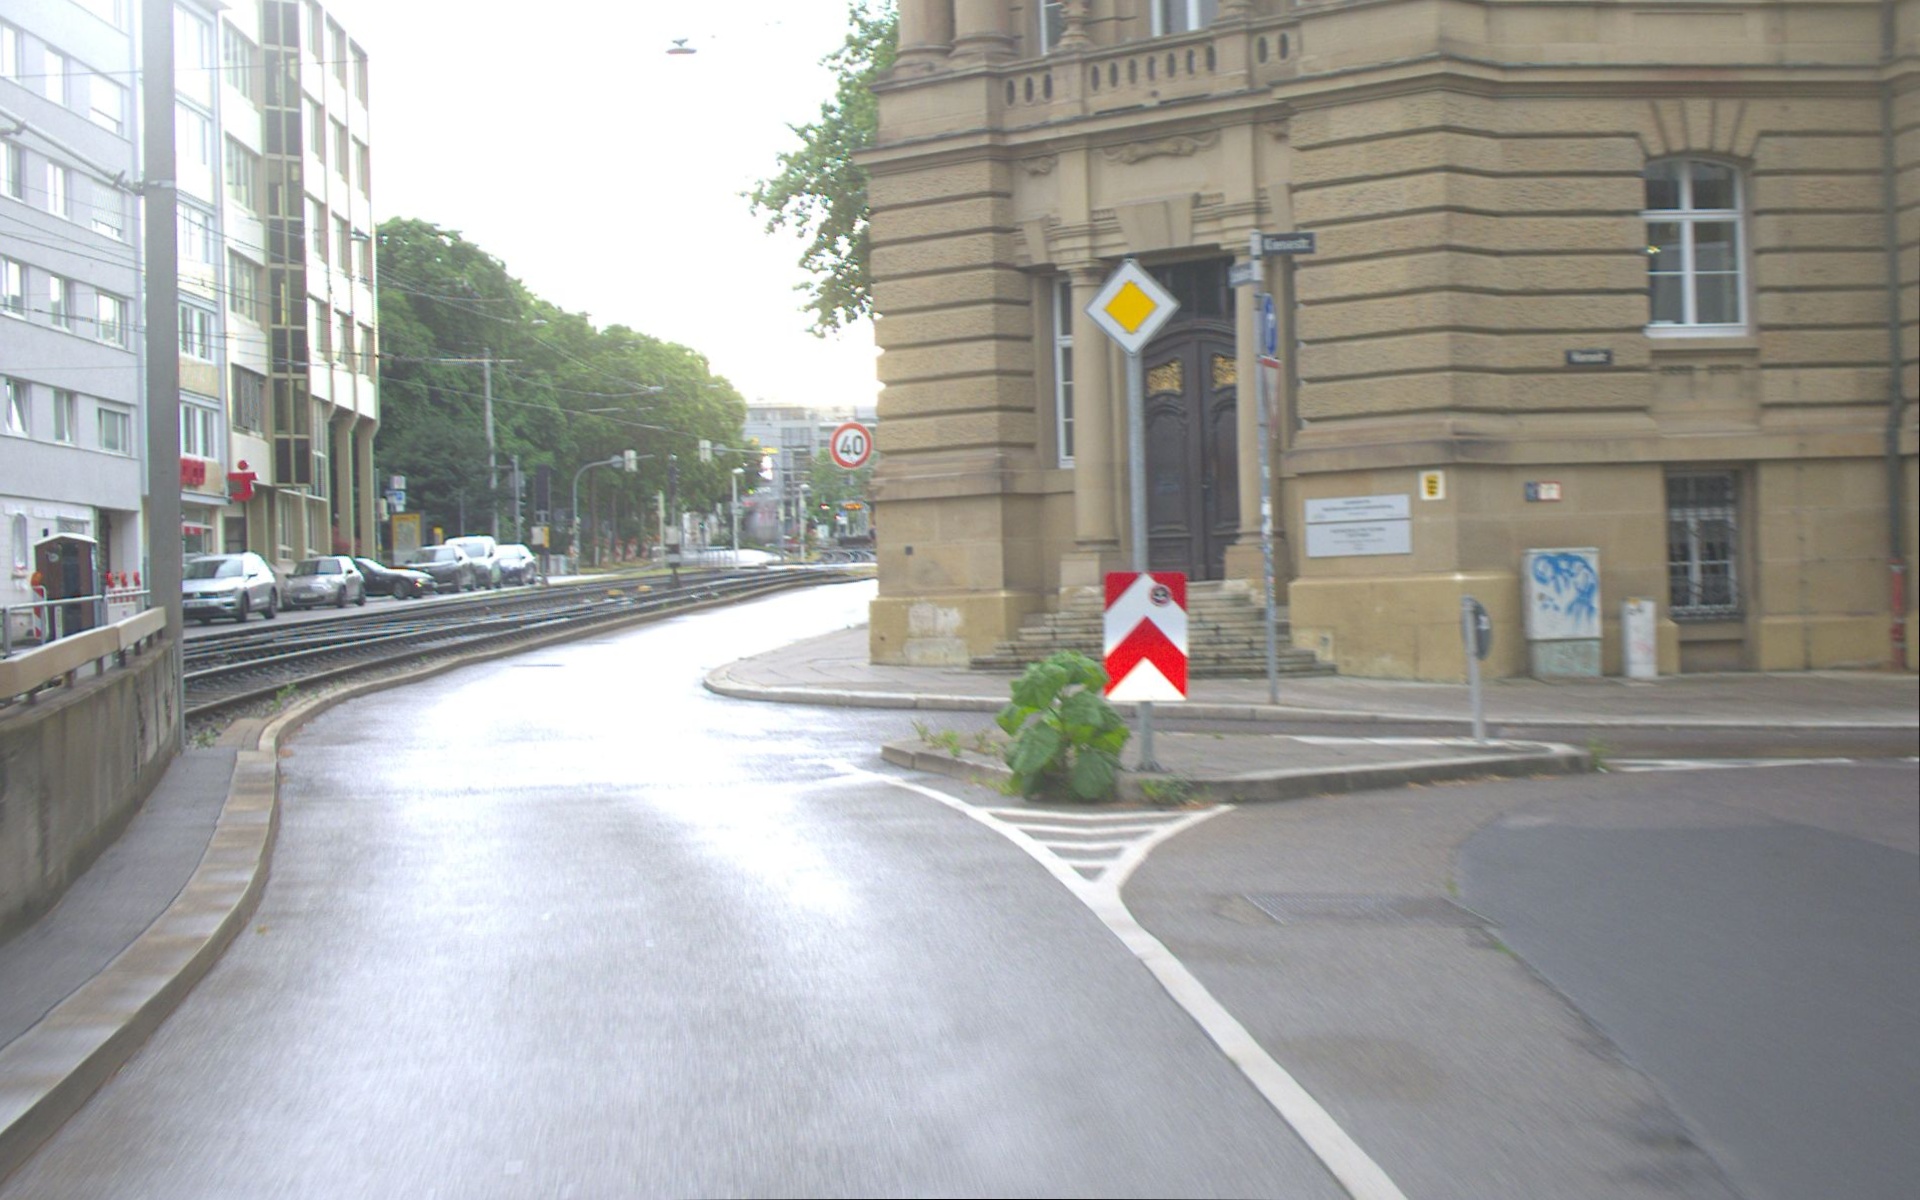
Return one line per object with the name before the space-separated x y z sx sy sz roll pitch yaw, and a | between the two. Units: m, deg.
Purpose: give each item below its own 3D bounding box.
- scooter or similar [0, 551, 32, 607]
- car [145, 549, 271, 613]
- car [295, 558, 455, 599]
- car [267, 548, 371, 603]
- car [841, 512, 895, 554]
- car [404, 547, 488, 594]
scooter or similar | -21.208 -0.474 76.088 0.764 1.215 2.065 0 1 0
car | -17.676 -0.478 80.974 1.993 1.451 4.311 0 1 0
car | -17.471 -0.642 102.709 4.301 1.159 1.998 0 1 20
car | -17.371 -0.686 93.326 1.993 1.451 4.311 0 1 0
car | -3.626 -2.648 136.441 1.993 1.656 4.000 0 1 0
car | -16.435 -0.953 110.083 1.993 1.451 4.311 0 1 0
